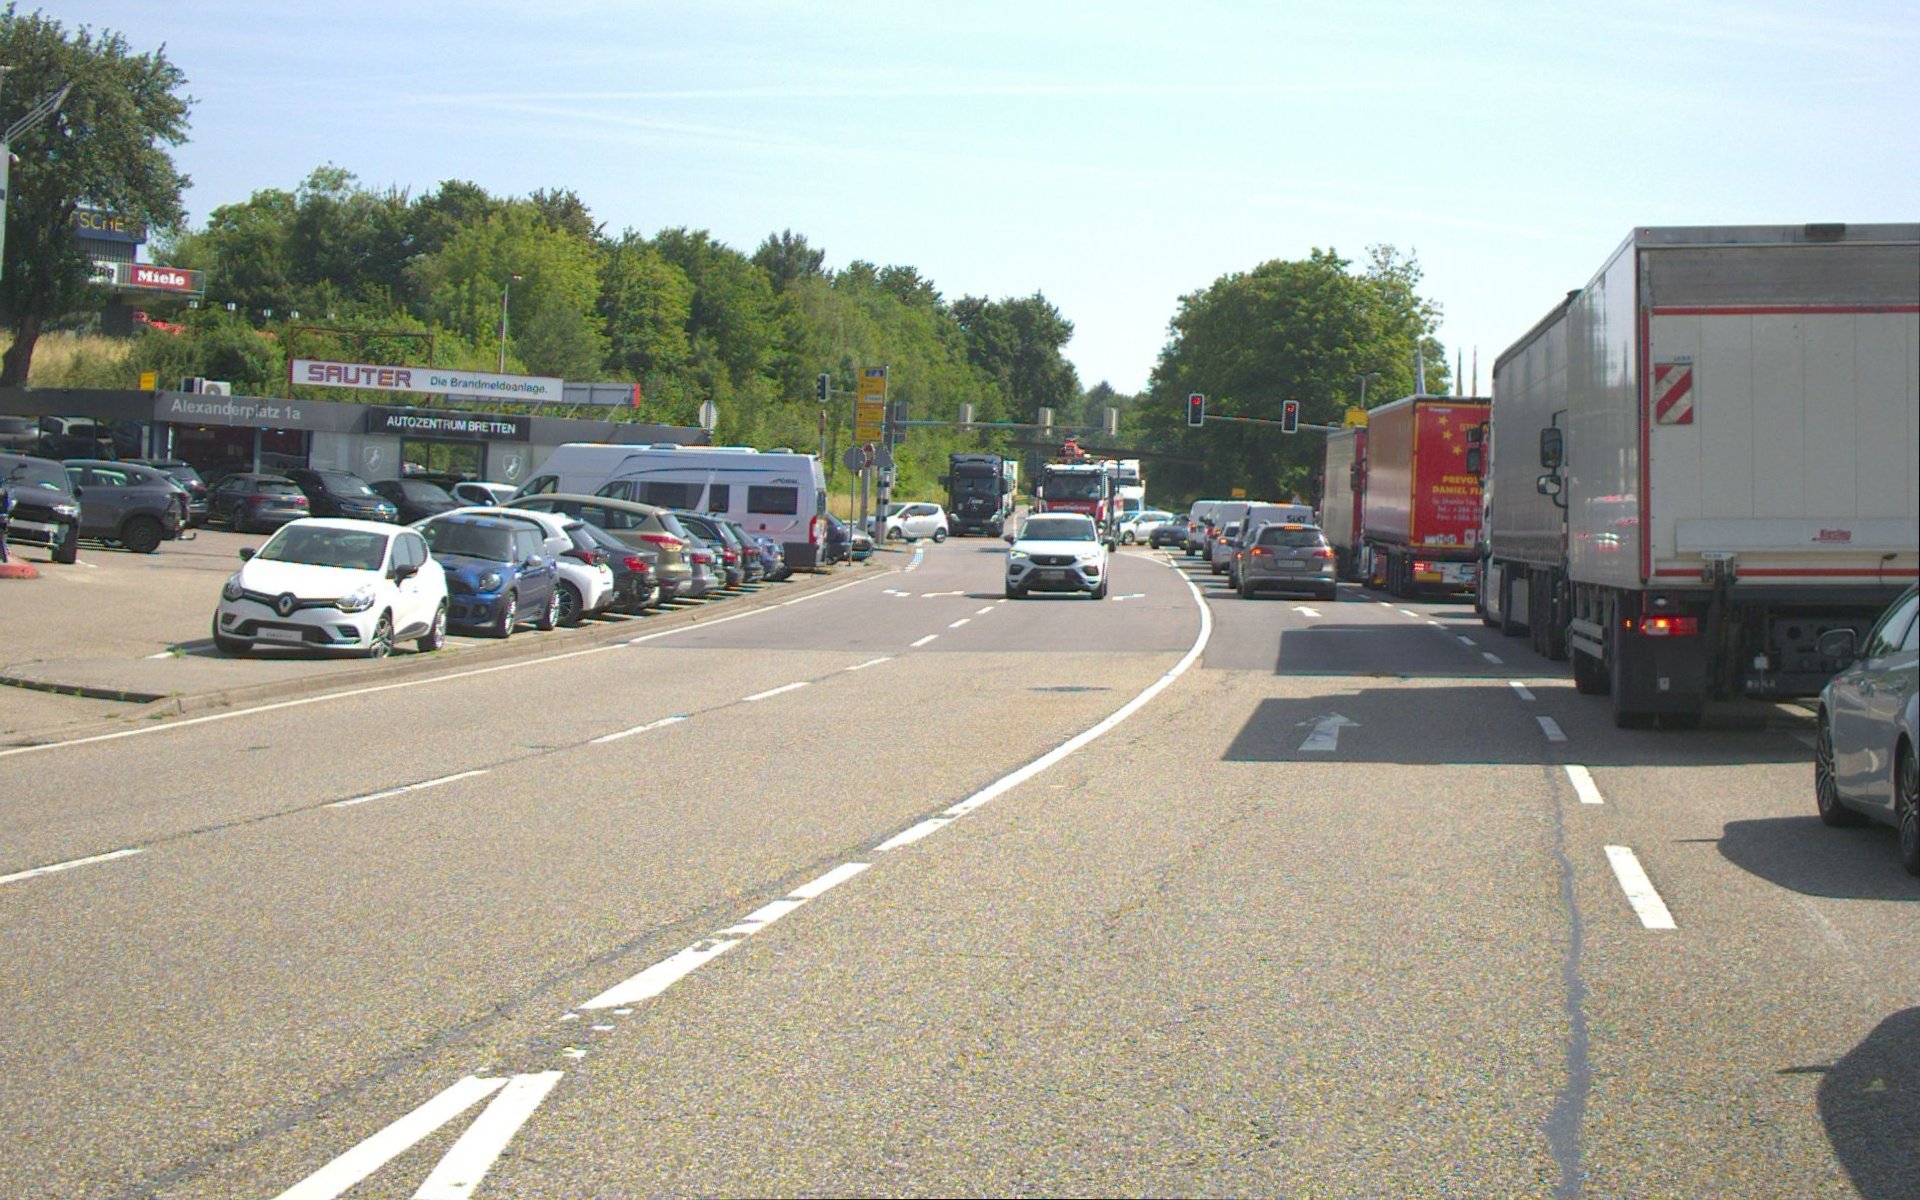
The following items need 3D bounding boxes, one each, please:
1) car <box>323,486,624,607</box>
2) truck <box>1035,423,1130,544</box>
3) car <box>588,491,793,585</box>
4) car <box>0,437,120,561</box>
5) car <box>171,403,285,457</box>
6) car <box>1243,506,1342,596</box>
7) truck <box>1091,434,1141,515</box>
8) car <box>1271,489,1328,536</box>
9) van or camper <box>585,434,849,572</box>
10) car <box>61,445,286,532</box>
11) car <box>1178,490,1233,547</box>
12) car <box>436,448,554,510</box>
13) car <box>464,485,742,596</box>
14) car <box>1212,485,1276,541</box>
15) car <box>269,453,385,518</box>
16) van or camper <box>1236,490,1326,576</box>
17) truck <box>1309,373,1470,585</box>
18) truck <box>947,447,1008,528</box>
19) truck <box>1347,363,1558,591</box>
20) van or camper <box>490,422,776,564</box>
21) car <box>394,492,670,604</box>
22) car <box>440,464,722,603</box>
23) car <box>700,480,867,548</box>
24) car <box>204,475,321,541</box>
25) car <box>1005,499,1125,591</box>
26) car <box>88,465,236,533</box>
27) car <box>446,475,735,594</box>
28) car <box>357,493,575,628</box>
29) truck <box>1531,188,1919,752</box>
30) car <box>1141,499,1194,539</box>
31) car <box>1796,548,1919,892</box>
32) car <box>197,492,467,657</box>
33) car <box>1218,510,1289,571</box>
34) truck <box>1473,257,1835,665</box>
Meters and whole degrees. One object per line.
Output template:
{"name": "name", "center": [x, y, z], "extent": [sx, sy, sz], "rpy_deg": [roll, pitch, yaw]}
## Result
{"name": "car", "center": [-6.659, -0.753, 47.300], "extent": [3.796, 1.520, 1.847], "rpy_deg": [2, 2, 2]}
{"name": "truck", "center": [4.515, -4.226, 125.027], "extent": [2.957, 4.194, 10.646], "rpy_deg": [0, 2, 5]}
{"name": "car", "center": [-5.257, -1.231, 67.319], "extent": [3.708, 1.479, 1.708], "rpy_deg": [5, 2, 2]}
{"name": "car", "center": [-14.422, -1.566, 53.705], "extent": [1.821, 1.669, 4.129], "rpy_deg": [7, -1, -21]}
{"name": "car", "center": [-21.071, -4.886, 98.910], "extent": [1.731, 1.445, 3.748], "rpy_deg": [2, 1, -37]}
{"name": "car", "center": [6.406, -0.958, 66.012], "extent": [1.790, 1.632, 3.503], "rpy_deg": [1, 1, 7]}
{"name": "truck", "center": [8.522, -6.804, 187.449], "extent": [2.553, 4.292, 7.595], "rpy_deg": [1, 2, 3]}
{"name": "car", "center": [11.751, -3.026, 119.114], "extent": [1.727, 1.514, 3.312], "rpy_deg": [3, 1, 3]}
{"name": "van or camper", "center": [-5.131, -2.071, 73.060], "extent": [5.246, 2.722, 2.210], "rpy_deg": [2, 2, 5]}
{"name": "car", "center": [-14.812, -2.096, 64.702], "extent": [3.936, 1.527, 1.770], "rpy_deg": [1, 2, -19]}
{"name": "car", "center": [8.664, -2.874, 121.340], "extent": [1.727, 1.902, 3.311], "rpy_deg": [2, 1, 7]}
{"name": "car", "center": [-12.320, -3.212, 90.934], "extent": [1.763, 1.582, 3.830], "rpy_deg": [0, 2, -29]}
{"name": "car", "center": [-6.149, -1.042, 59.509], "extent": [4.459, 1.479, 1.772], "rpy_deg": [5, 2, 2]}
{"name": "car", "center": [8.136, -2.481, 98.677], "extent": [1.727, 1.514, 3.312], "rpy_deg": [2, 1, 4]}
{"name": "car", "center": [-16.258, -2.952, 88.199], "extent": [1.763, 1.582, 3.830], "rpy_deg": [0, 2, -29]}
{"name": "van or camper", "center": [7.496, -1.600, 80.612], "extent": [1.852, 1.899, 3.784], "rpy_deg": [2, 2, 3]}
{"name": "truck", "center": [11.614, -3.289, 94.602], "extent": [3.063, 5.202, 17.006], "rpy_deg": [2, 2, 3]}
{"name": "truck", "center": [0.814, -5.374, 164.230], "extent": [2.812, 3.773, 6.991], "rpy_deg": [0, 2, 0]}
{"name": "truck", "center": [10.346, -2.601, 74.033], "extent": [2.957, 4.255, 16.583], "rpy_deg": [2, 2, 3]}
{"name": "van or camper", "center": [-7.160, -2.365, 75.619], "extent": [5.893, 2.863, 2.289], "rpy_deg": [2, 2, 4]}
{"name": "car", "center": [-6.174, -0.771, 49.795], "extent": [3.708, 1.520, 1.792], "rpy_deg": [1, 2, 2]}
{"name": "car", "center": [-5.716, -1.024, 52.165], "extent": [3.886, 1.710, 1.806], "rpy_deg": [5, 2, 2]}
{"name": "car", "center": [-4.247, -2.079, 83.130], "extent": [3.817, 1.534, 1.842], "rpy_deg": [1, 2, 3]}
{"name": "car", "center": [-17.523, -2.326, 86.296], "extent": [1.763, 1.582, 3.830], "rpy_deg": [0, 2, -29]}
{"name": "car", "center": [2.018, -1.053, 64.794], "extent": [1.936, 1.668, 3.999], "rpy_deg": [0, 1, 6]}
{"name": "car", "center": [-19.956, -2.530, 85.901], "extent": [3.827, 1.582, 1.764], "rpy_deg": [3, 2, 44]}
{"name": "car", "center": [-5.878, -1.063, 55.017], "extent": [4.277, 1.479, 1.836], "rpy_deg": [5, 2, 2]}
{"name": "car", "center": [-6.282, -0.532, 44.094], "extent": [1.780, 1.489, 3.781], "rpy_deg": [6, 2, 5]}
{"name": "truck", "center": [6.585, -1.023, 28.987], "extent": [2.880, 3.798, 11.139], "rpy_deg": [2, 2, 7]}
{"name": "car", "center": [8.432, -3.300, 139.676], "extent": [1.807, 1.554, 4.386], "rpy_deg": [1, 2, 8]}
{"name": "car", "center": [5.170, 0.510, 16.479], "extent": [1.736, 1.424, 4.224], "rpy_deg": [2, 2, 7]}
{"name": "car", "center": [-6.698, -0.306, 37.081], "extent": [1.779, 1.612, 3.999], "rpy_deg": [2, 2, 6]}
{"name": "car", "center": [7.675, -1.554, 90.094], "extent": [1.727, 1.514, 3.312], "rpy_deg": [2, 1, 4]}
{"name": "truck", "center": [8.604, -1.692, 44.815], "extent": [2.891, 4.251, 16.707], "rpy_deg": [2, 2, 6]}
